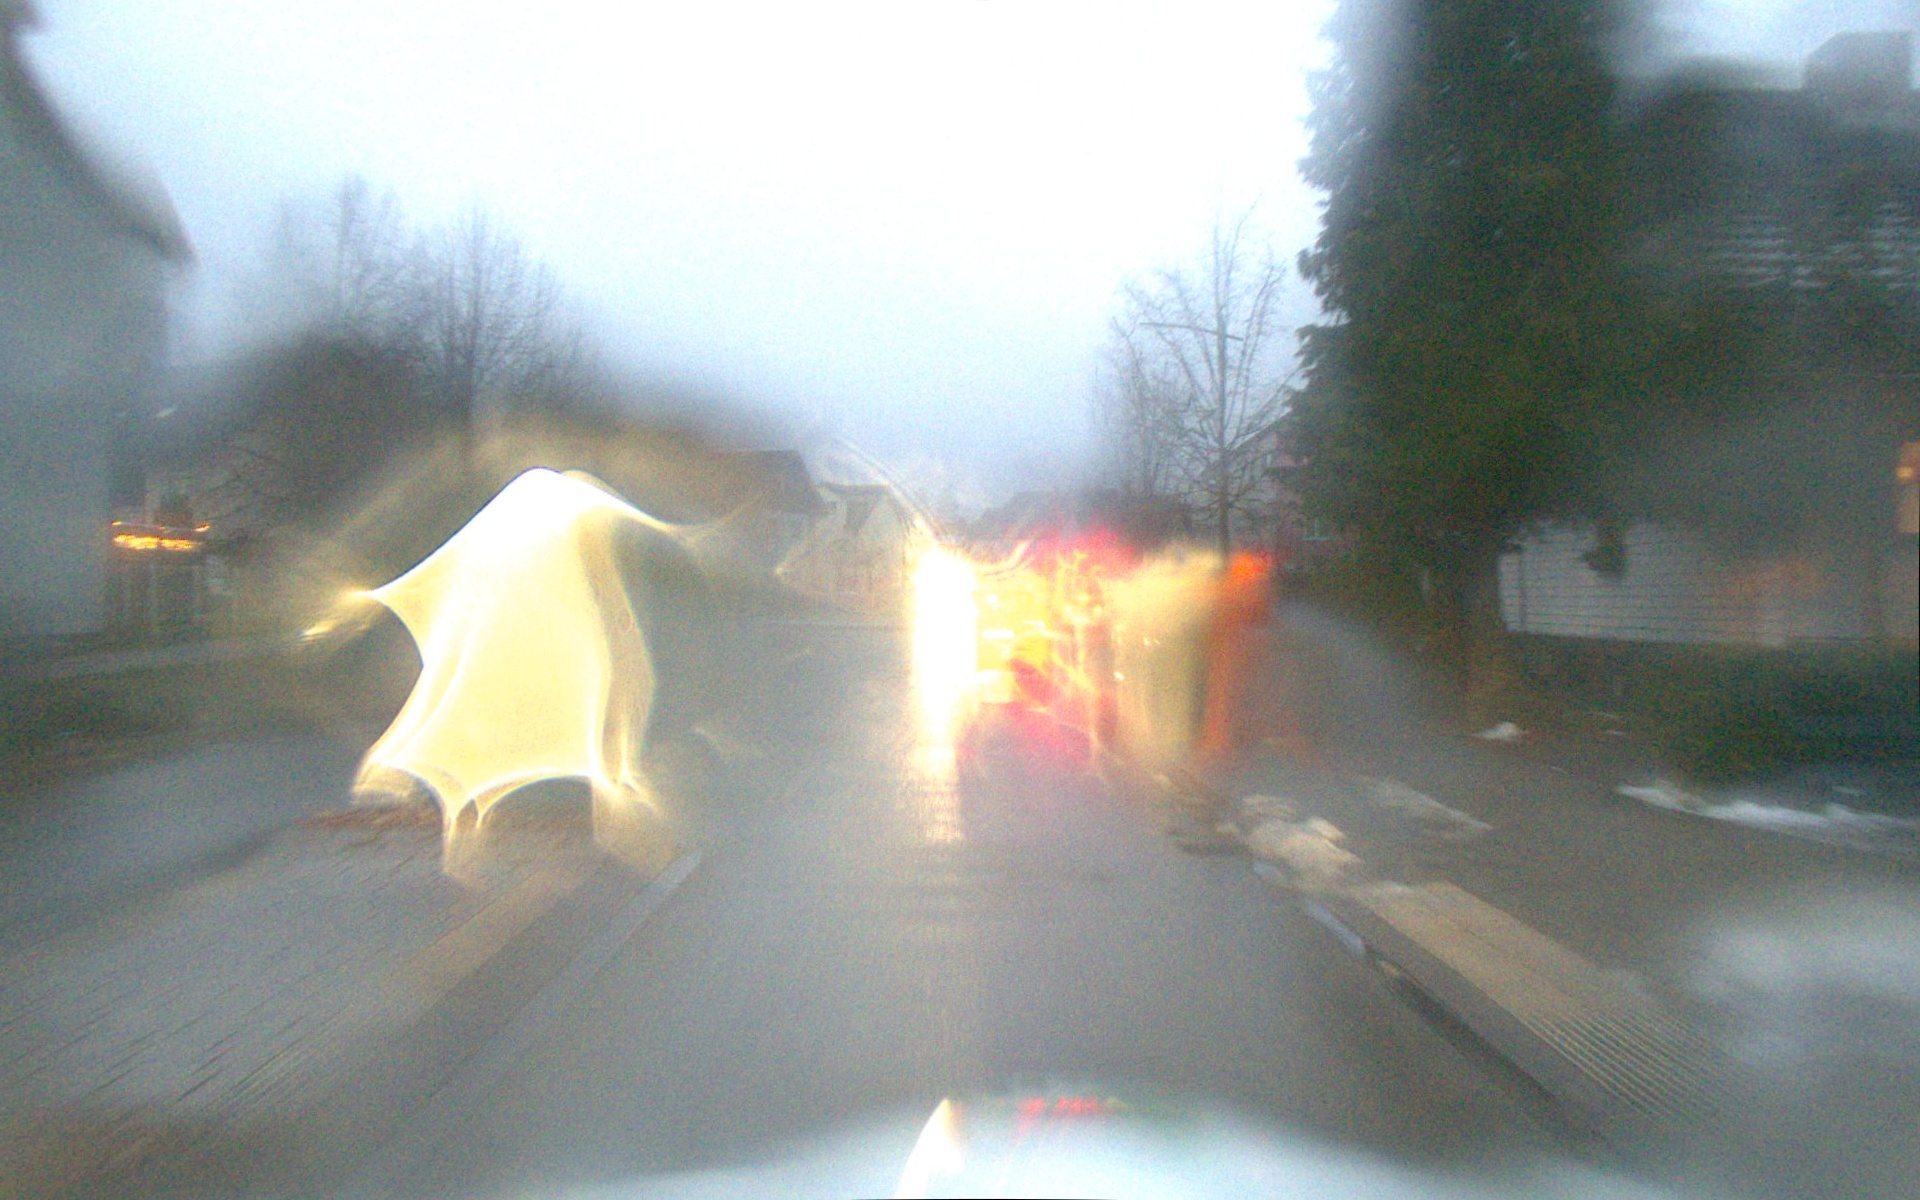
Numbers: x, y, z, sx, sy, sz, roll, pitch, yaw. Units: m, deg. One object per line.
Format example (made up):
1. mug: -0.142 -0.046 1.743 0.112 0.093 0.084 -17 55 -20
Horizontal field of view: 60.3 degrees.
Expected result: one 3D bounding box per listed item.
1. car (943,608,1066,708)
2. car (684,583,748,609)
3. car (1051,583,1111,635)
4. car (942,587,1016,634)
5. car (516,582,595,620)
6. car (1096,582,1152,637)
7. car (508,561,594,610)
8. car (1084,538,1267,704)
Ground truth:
1. car: 0.706 0.955 28.831 1.953 1.552 3.999 1 0 -1
2. car: -13.559 -0.222 92.092 1.952 1.330 4.115 3 1 16
3. car: 5.069 0.398 68.777 1.951 2.049 4.003 1 -1 12
4. car: 0.703 0.343 57.096 1.866 1.514 4.572 1 1 9
5. car: -16.709 0.016 68.515 1.359 1.463 4.340 2 1 13
6. car: 5.878 0.312 58.907 1.708 1.816 4.340 -1 1 9
7. car: -18.228 -0.649 73.917 1.952 2.048 4.003 3 1 16
8. car: 2.957 0.235 23.870 1.937 2.049 5.746 -2 1 1
